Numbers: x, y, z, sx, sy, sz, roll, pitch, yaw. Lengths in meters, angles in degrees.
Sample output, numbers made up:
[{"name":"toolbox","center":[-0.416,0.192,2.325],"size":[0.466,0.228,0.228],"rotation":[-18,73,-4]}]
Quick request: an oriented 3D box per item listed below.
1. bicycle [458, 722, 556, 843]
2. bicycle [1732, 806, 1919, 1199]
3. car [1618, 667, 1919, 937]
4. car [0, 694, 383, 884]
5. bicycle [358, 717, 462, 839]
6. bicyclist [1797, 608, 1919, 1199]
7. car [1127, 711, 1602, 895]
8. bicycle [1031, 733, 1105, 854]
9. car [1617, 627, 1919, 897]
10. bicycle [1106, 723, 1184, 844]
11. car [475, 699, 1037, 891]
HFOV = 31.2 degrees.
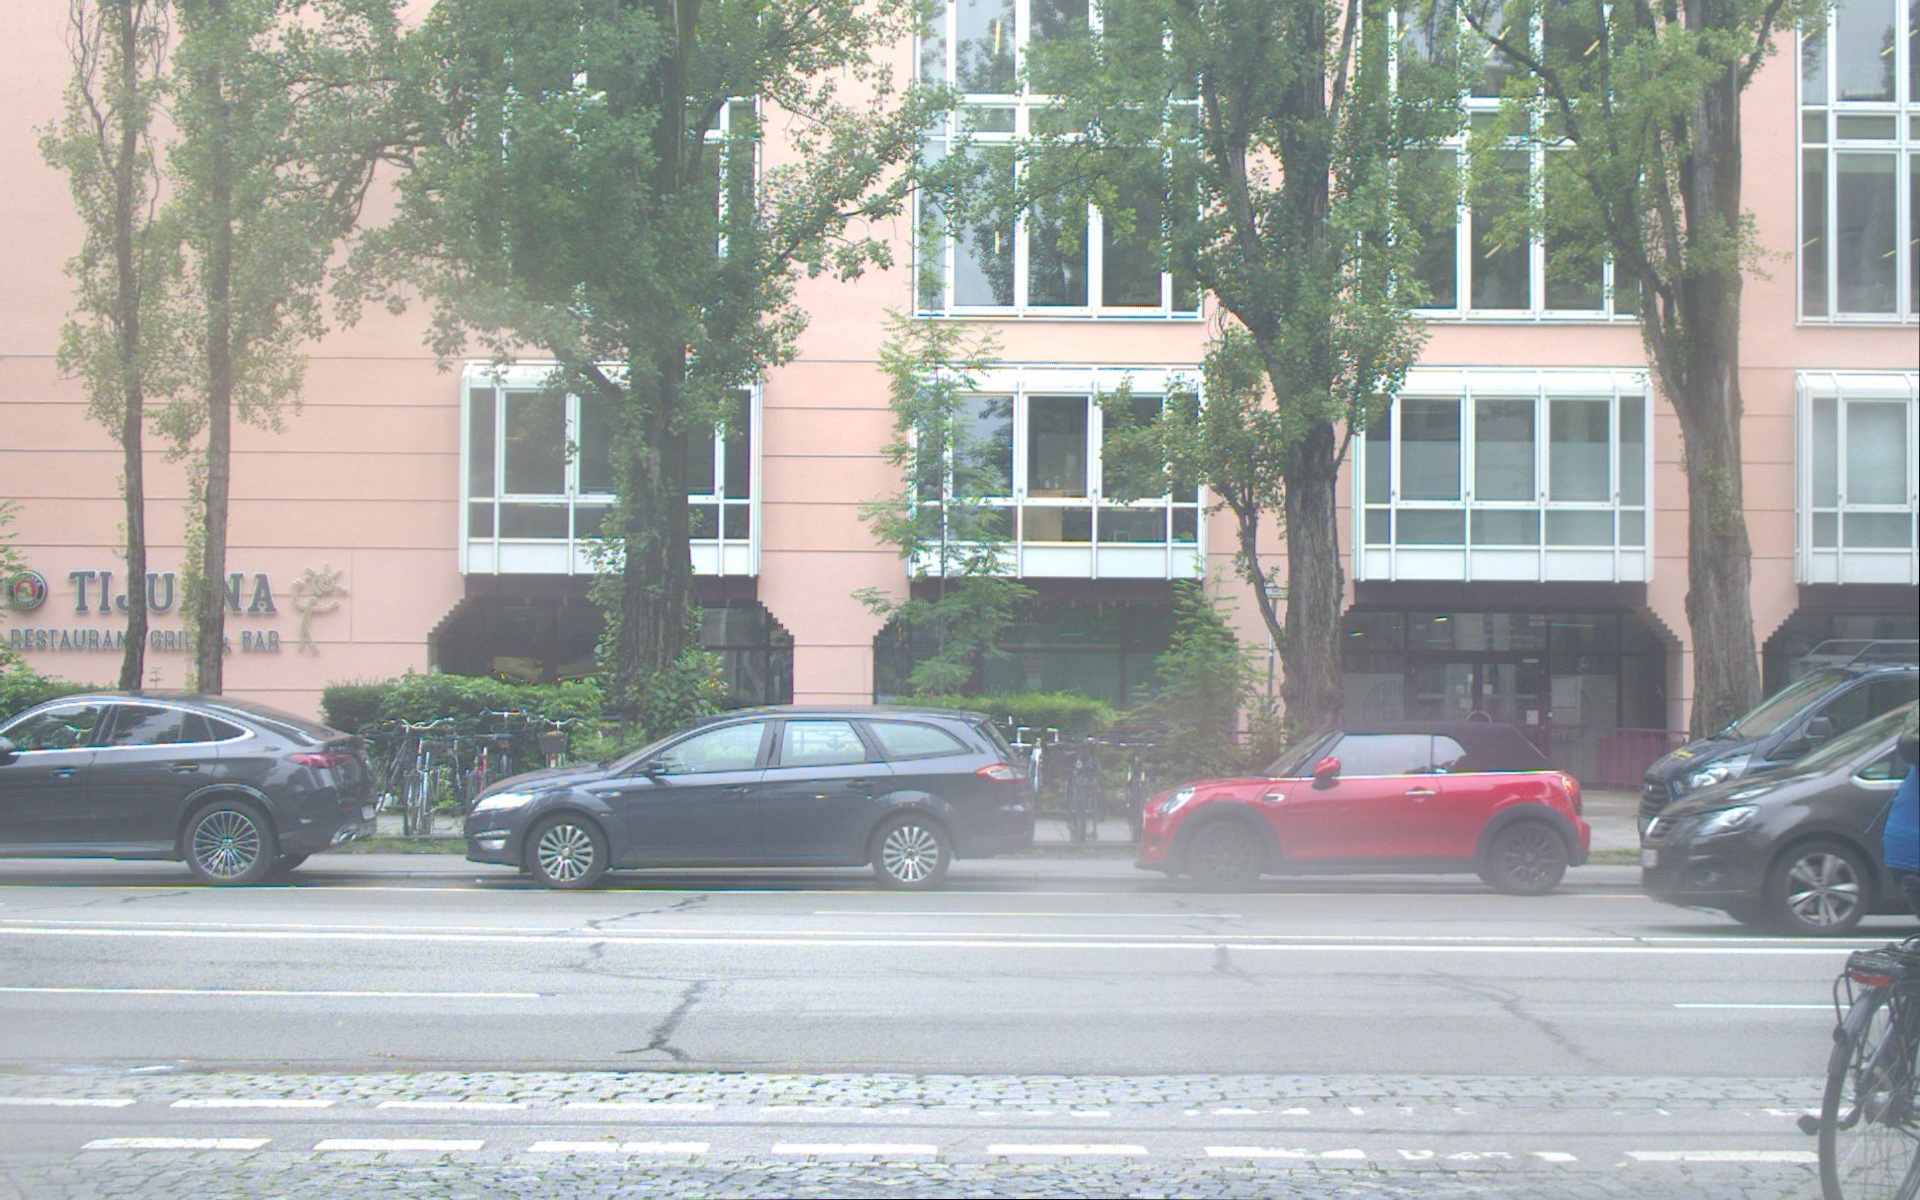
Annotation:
[{"name":"bicycle","center":[-4.403,1.763,33.528],"size":[0.674,1.121,1.989],"rotation":[0,-1,0]},{"name":"bicycle","center":[2.871,1.156,9.542],"size":[0.718,1.144,1.896],"rotation":[-2,-3,36]},{"name":"car","center":[7.012,1.363,23.115],"size":[4.799,1.716,2.000],"rotation":[1,-3,1]},{"name":"car","center":[-7.307,1.572,29.200],"size":[4.499,1.524,1.793],"rotation":[1,-2,0]},{"name":"bicycle","center":[-5.325,1.712,33.394],"size":[0.674,1.121,1.989],"rotation":[0,-1,0]},{"name":"bicyclist","center":[2.782,0.838,9.395],"size":[0.723,1.614,0.755],"rotation":[0,-2,36]},{"name":"car","center":[3.355,1.689,29.024],"size":[3.861,1.444,1.678],"rotation":[1,-2,3]},{"name":"bicycle","center":[1.045,1.868,33.470],"size":[0.674,1.121,1.741],"rotation":[0,-1,0]},{"name":"car","center":[8.506,1.368,29.128],"size":[5.479,2.190,2.023],"rotation":[1,-2,0]},{"name":"bicycle","center":[1.793,1.771,33.461],"size":[0.674,1.121,1.741],"rotation":[0,-1,0]},{"name":"car","center":[-1.680,1.632,29.216],"size":[4.608,1.524,1.793],"rotation":[1,-2,0]}]
